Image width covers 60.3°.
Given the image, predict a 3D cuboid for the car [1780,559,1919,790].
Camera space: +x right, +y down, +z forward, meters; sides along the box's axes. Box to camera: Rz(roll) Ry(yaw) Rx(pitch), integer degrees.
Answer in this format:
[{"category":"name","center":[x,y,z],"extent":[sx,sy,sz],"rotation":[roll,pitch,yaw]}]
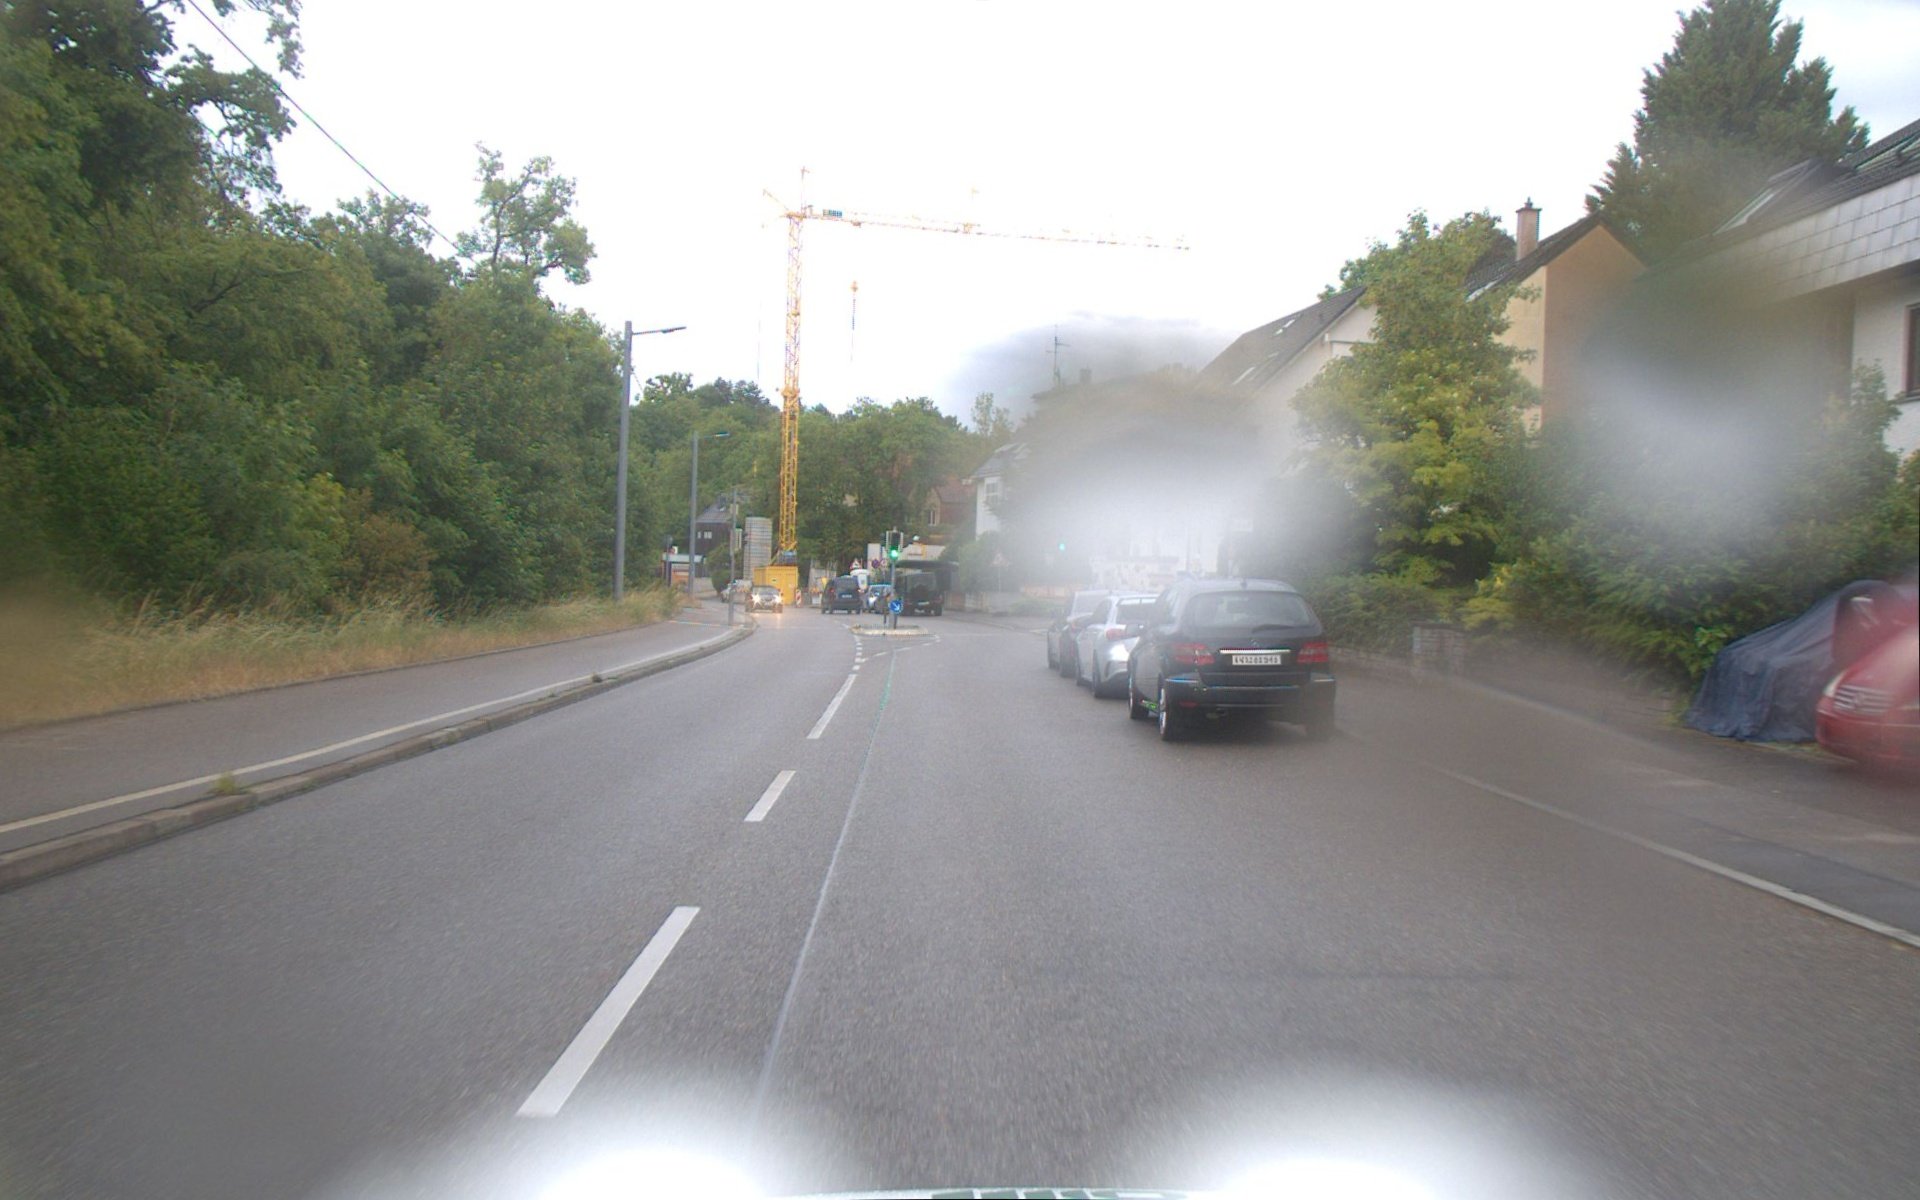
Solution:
[{"category":"car","center":[8.387,0.483,12.357],"extent":[3.584,1.593,1.882],"rotation":[-1,0,-2]}]

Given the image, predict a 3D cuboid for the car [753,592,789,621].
[{"category":"car","center":[-10.159,0.329,89.071],"extent":[1.709,1.485,4.410],"rotation":[0,0,-4]}]

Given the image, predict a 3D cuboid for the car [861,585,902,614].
[{"category":"car","center":[-4.225,-0.032,88.692],"extent":[1.644,1.482,3.375],"rotation":[0,0,-12]}]

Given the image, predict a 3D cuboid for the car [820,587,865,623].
[{"category":"car","center":[-6.077,0.230,85.257],"extent":[1.897,1.781,3.991],"rotation":[0,1,-10]}]

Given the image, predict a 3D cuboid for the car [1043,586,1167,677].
[{"category":"car","center":[2.487,0.529,29.327],"extent":[1.716,1.468,4.599],"rotation":[1,0,-1]}]

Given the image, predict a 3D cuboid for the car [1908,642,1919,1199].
[{"category":"car","center":[3.427,0.815,2.272],"extent":[1.776,1.422,4.100],"rotation":[1,-1,-3]}]

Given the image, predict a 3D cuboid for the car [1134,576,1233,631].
[{"category":"car","center":[7.289,0.108,54.281],"extent":[1.897,1.624,4.331],"rotation":[4,-1,-10]}]

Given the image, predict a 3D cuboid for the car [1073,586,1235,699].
[{"category":"car","center":[2.774,0.594,24.569],"extent":[1.757,1.513,4.493],"rotation":[1,-1,-2]}]

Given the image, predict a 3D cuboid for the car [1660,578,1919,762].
[{"category":"car","center":[8.577,0.598,14.431],"extent":[4.159,1.486,1.882],"rotation":[1,-1,-2]}]

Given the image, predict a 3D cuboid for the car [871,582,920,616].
[{"category":"car","center":[-3.323,-0.070,84.215],"extent":[1.897,1.624,4.384],"rotation":[-2,0,-10]}]

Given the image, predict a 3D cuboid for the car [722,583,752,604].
[{"category":"car","center":[-19.328,-0.557,143.245],"extent":[1.718,1.735,4.479],"rotation":[-1,1,-18]}]

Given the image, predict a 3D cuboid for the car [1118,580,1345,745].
[{"category":"car","center":[2.849,0.576,18.293],"extent":[1.695,1.595,4.521],"rotation":[0,1,-1]}]

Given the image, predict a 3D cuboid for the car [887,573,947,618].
[{"category":"car","center":[-2.099,-0.207,79.306],"extent":[1.959,2.049,4.940],"rotation":[-1,1,-13]}]
